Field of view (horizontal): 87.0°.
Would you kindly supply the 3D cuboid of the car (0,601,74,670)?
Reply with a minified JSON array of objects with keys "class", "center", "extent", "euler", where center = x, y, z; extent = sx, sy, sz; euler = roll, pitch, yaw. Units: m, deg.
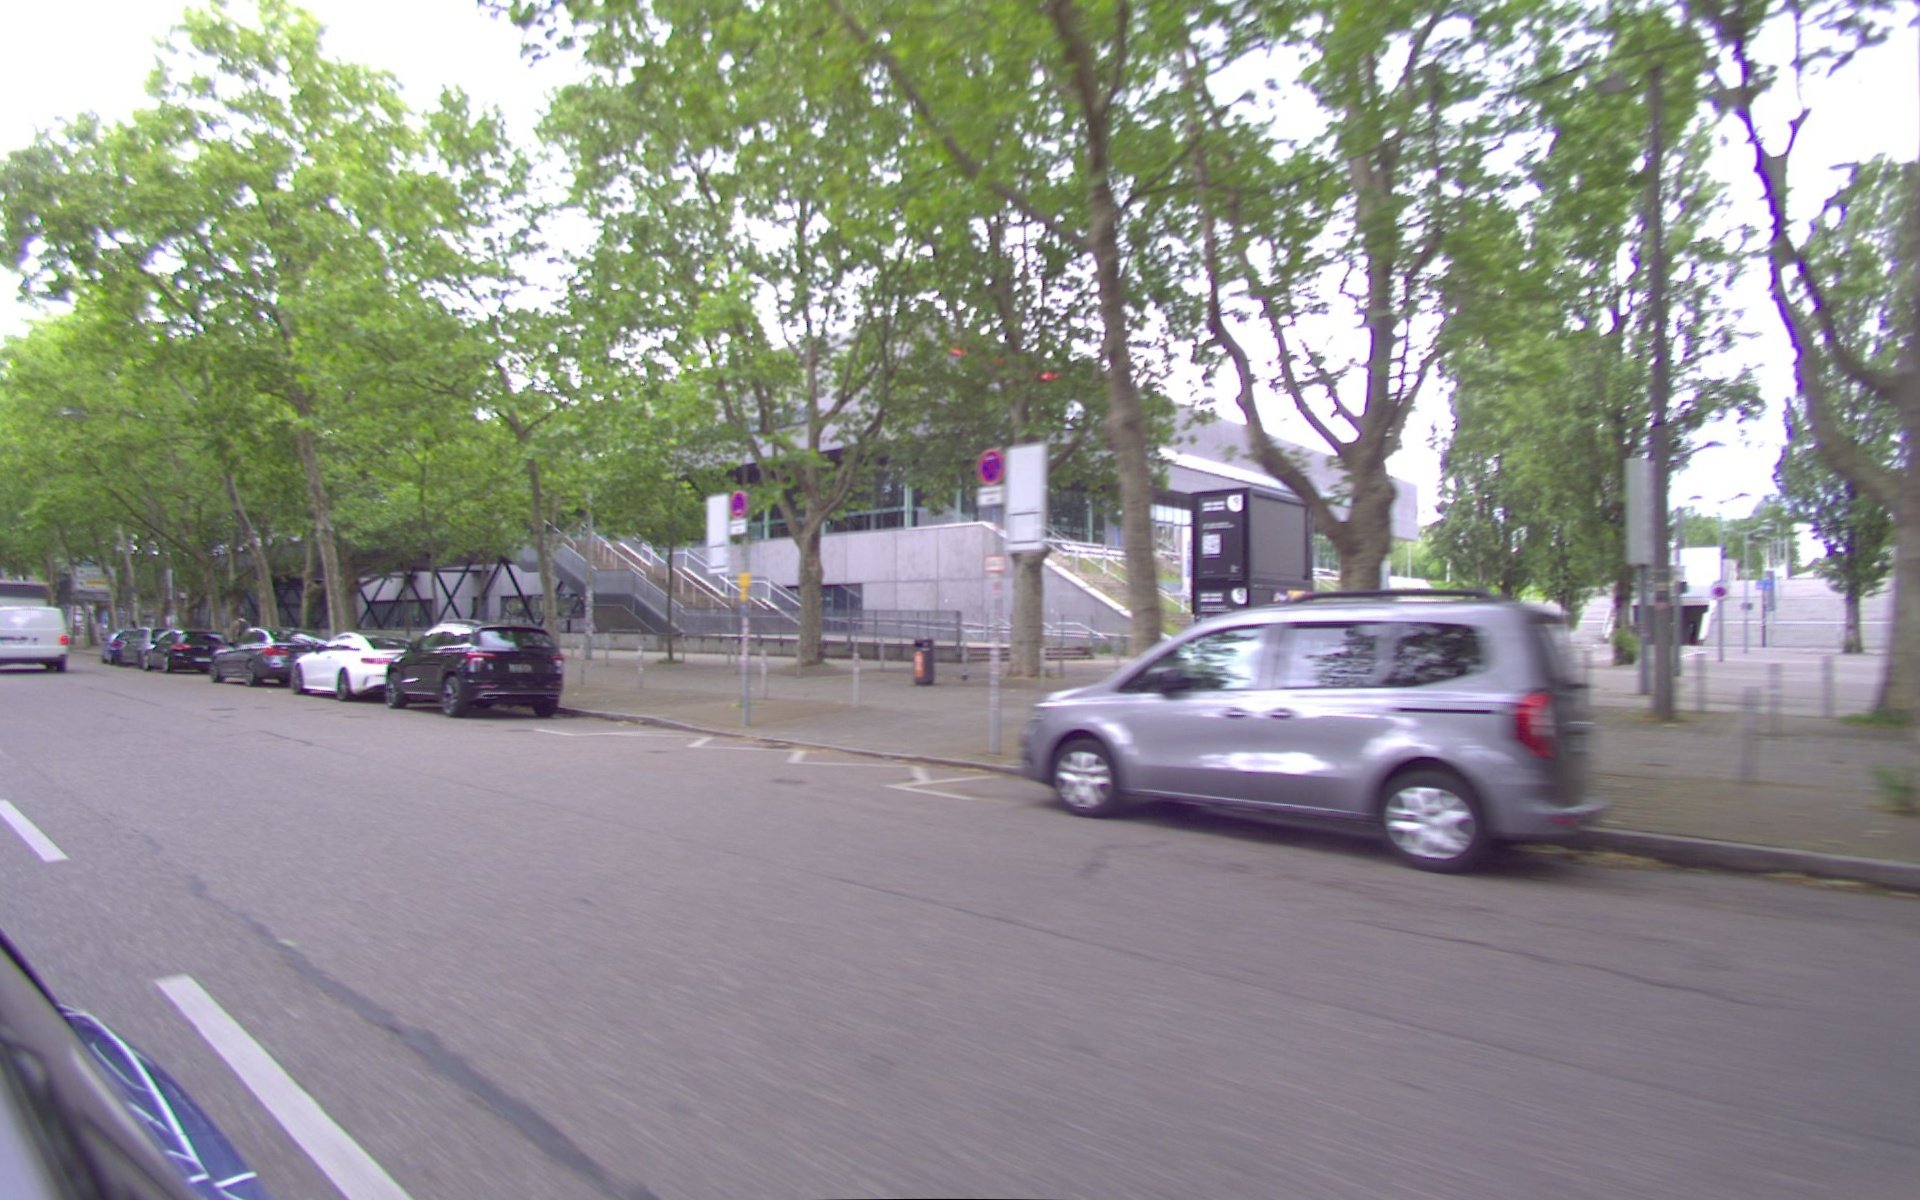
[{"class":"car","center":[-29.160,1.084,31.224],"extent":[5.464,1.976,2.037],"euler":[-2,-3,42]}]

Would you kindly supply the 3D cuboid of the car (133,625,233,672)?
[{"class":"car","center":[-25.453,1.577,33.087],"extent":[4.329,1.392,1.690],"euler":[-1,-6,41]}]

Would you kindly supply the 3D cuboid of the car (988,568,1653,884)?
[{"class":"car","center":[2.614,0.802,8.046],"extent":[4.610,1.809,1.875],"euler":[-1,-4,41]}]

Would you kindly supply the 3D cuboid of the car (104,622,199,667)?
[{"class":"car","center":[-29.186,1.607,36.505],"extent":[3.644,1.489,1.679],"euler":[-1,-5,36]}]

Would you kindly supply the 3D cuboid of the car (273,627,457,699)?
[{"class":"car","center":[-12.718,1.287,21.489],"extent":[5.002,1.372,1.797],"euler":[-1,-4,41]}]

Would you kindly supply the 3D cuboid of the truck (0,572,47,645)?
[{"class":"truck","center":[-54.579,0.484,58.195],"extent":[2.874,3.898,9.479],"euler":[3,-3,-42]}]

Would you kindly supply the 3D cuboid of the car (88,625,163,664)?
[{"class":"car","center":[-32.717,1.743,39.644],"extent":[4.001,1.372,1.675],"euler":[-2,-7,44]}]

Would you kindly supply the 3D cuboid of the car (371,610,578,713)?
[{"class":"car","center":[-8.692,1.051,17.948],"extent":[4.345,1.606,1.797],"euler":[-1,-5,44]}]

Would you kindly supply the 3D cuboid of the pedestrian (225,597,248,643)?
[{"class":"pedestrian","center":[-29.613,0.823,41.407],"extent":[0.825,1.854,0.502],"euler":[-1,-2,35]}]

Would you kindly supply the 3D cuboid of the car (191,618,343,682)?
[{"class":"car","center":[-17.838,1.249,25.969],"extent":[4.987,1.496,1.802],"euler":[-1,-3,39]}]
